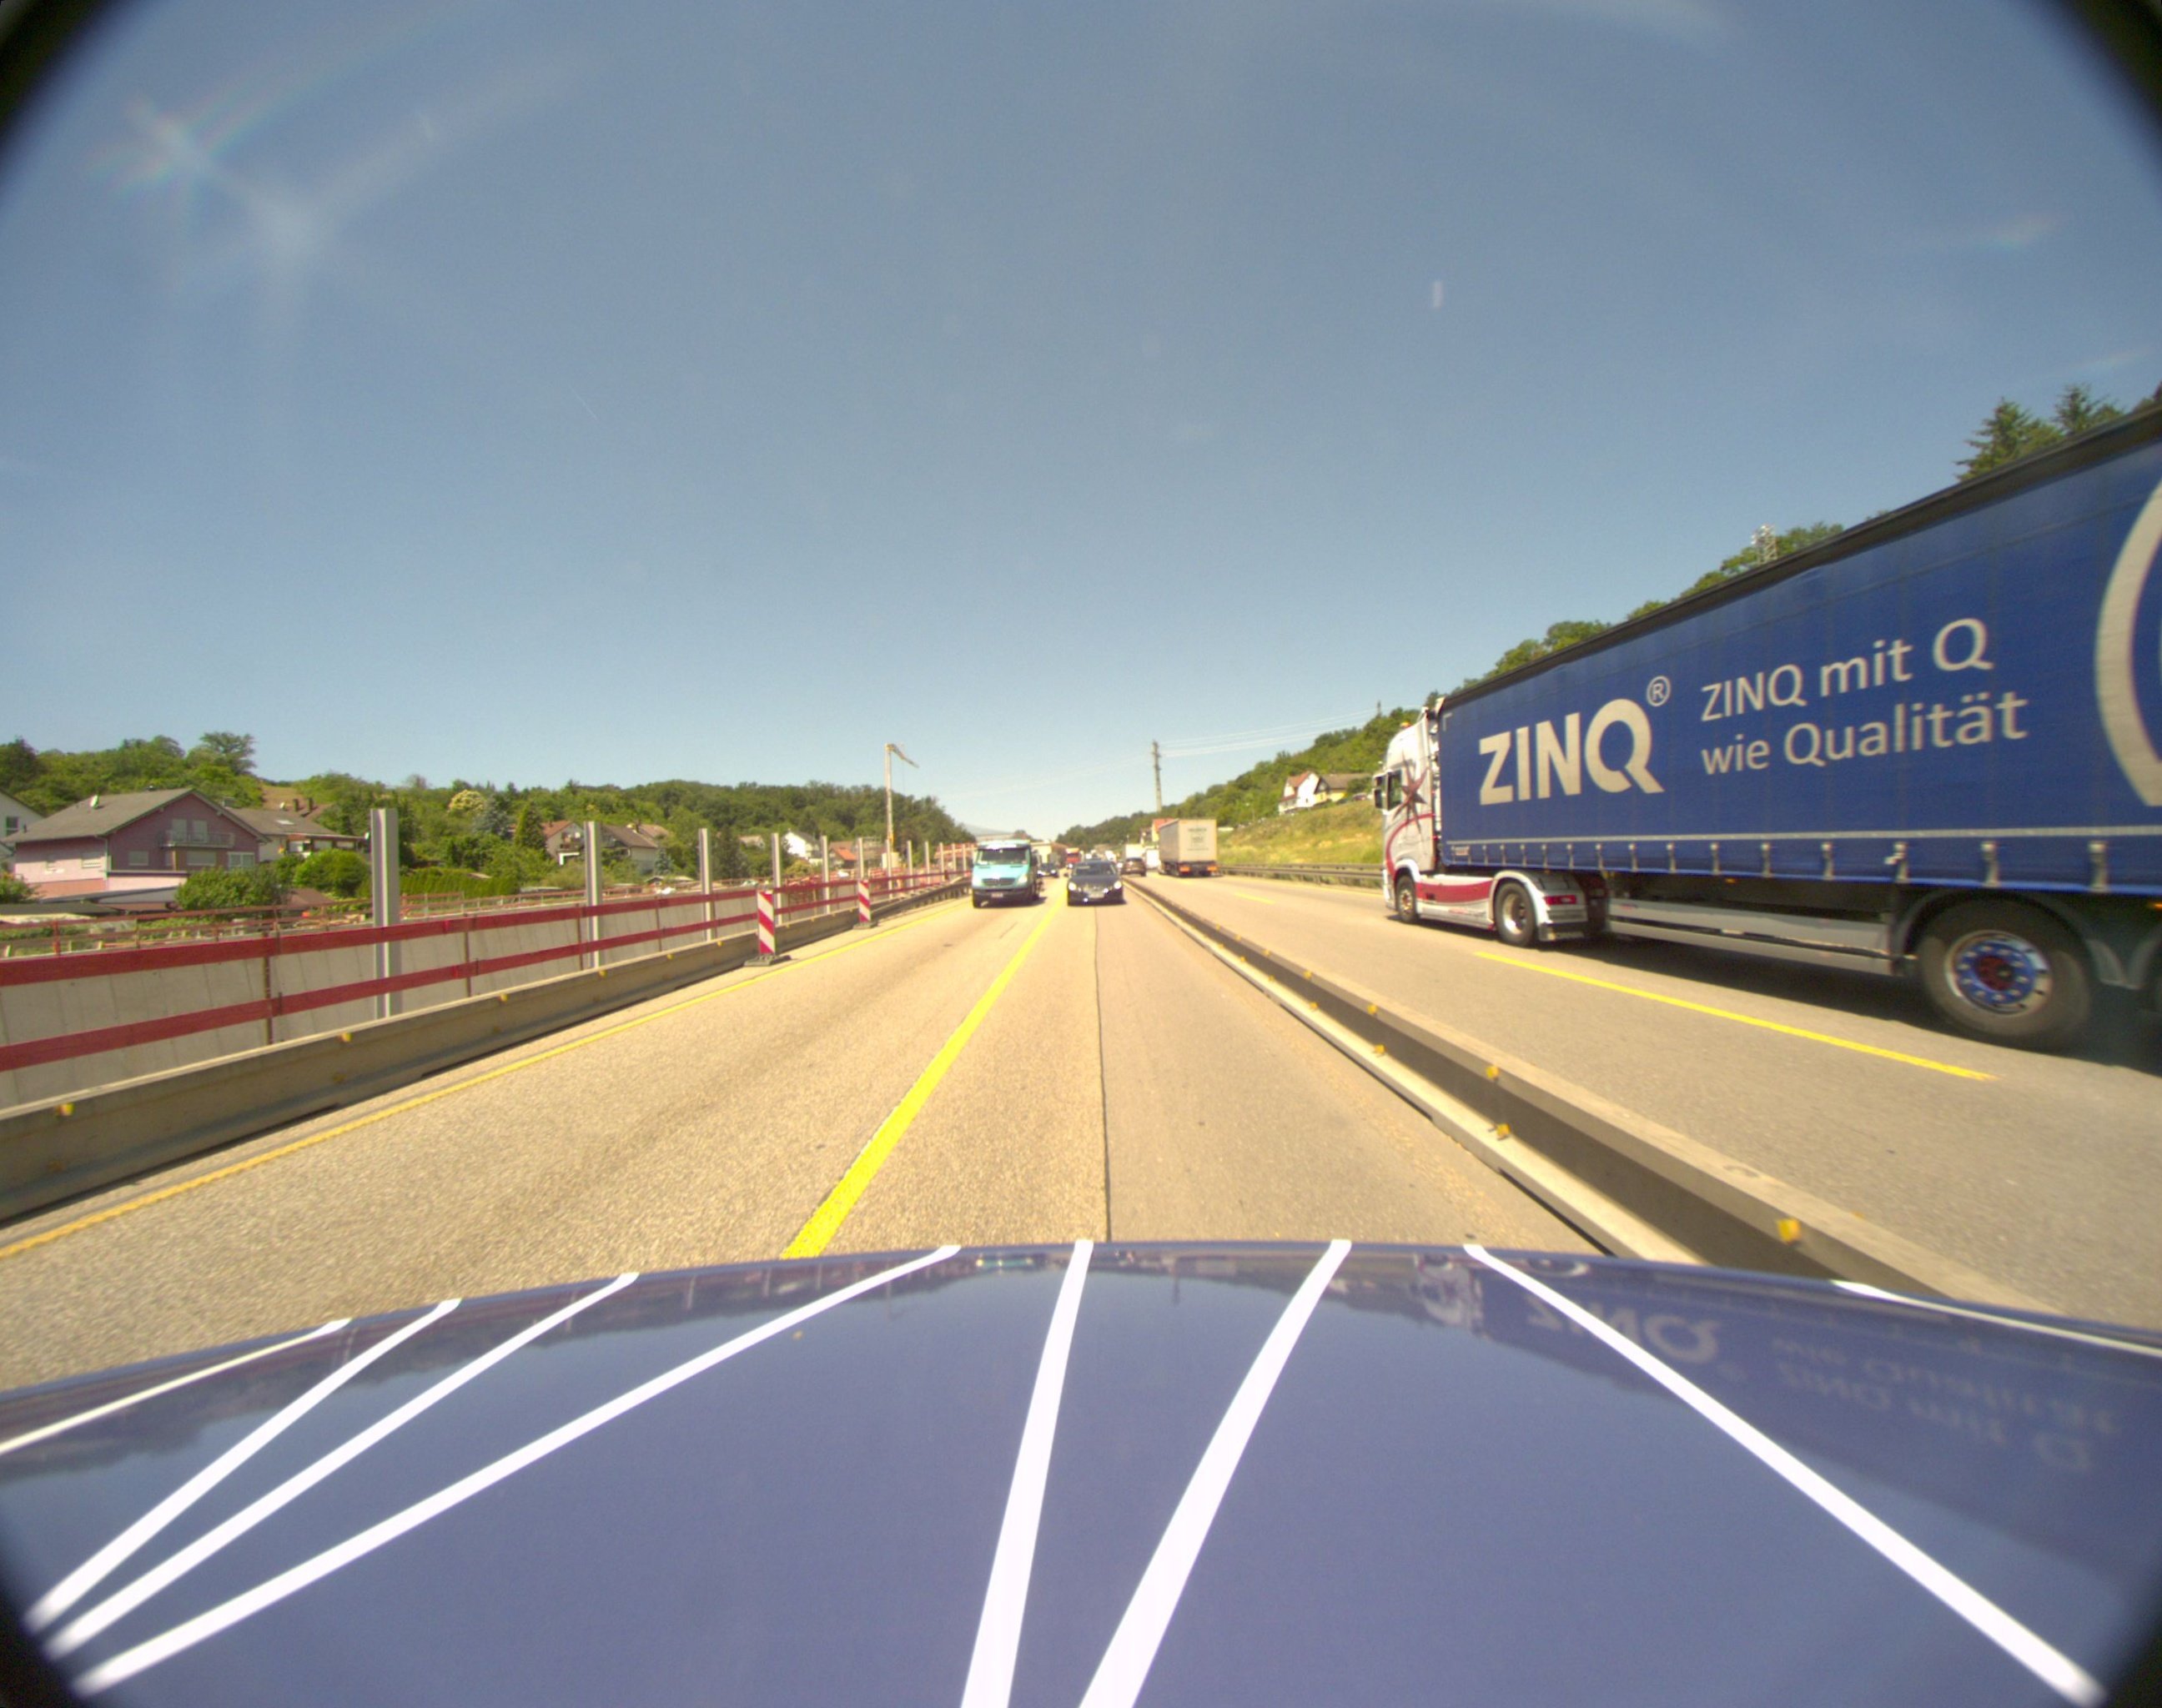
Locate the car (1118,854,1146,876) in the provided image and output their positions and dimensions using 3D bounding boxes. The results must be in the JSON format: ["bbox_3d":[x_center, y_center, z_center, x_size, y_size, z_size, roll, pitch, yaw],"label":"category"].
[{"bbox_3d":[4.061,0.861,61.065,1.853,1.577,4.174,-2,0,0],"label":"car"}]

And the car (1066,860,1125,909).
[{"bbox_3d":[0.463,0.927,24.983,1.746,1.420,4.000,-2,0,1],"label":"car"}]

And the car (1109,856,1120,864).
[{"bbox_3d":[6.095,1.142,139.502,1.772,1.355,4.411,-2,0,0],"label":"car"}]

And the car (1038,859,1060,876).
[{"bbox_3d":[-2.800,1.173,66.595,1.611,1.324,3.496,-3,0,1],"label":"car"}]

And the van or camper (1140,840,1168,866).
[{"bbox_3d":[8.202,-0.055,86.144,2.340,2.761,7.517,-2,0,0],"label":"van or camper"}]

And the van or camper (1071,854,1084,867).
[{"bbox_3d":[-0.736,1.275,155.313,2.321,2.513,4.528,-4,0,1],"label":"van or camper"}]

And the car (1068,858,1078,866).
[{"bbox_3d":[-1.431,1.461,137.721,1.679,1.346,3.487,-4,0,1],"label":"car"}]

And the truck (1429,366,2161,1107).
[{"bbox_3d":[7.683,-0.693,6.224,3.251,4.135,13.977,-2,0,0],"label":"truck"}]

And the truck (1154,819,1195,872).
[{"bbox_3d":[7.942,-0.731,65.254,2.781,4.261,4.676,-2,0,0],"label":"truck"}]

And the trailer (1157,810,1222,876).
[{"bbox_3d":[7.922,-0.725,57.446,2.817,4.261,14.034,-2,0,0],"label":"trailer"}]

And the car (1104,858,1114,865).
[{"bbox_3d":[5.893,1.583,159.875,1.758,1.499,4.000,-4,0,1],"label":"car"}]

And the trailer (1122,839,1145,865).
[{"bbox_3d":[8.790,-0.309,128.974,2.864,4.100,13.437,-2,0,0],"label":"trailer"}]

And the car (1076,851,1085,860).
[{"bbox_3d":[-0.085,0.321,161.620,1.744,1.679,3.640,-2,0,1],"label":"car"}]

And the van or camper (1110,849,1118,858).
[{"bbox_3d":[10.415,-0.155,239.733,2.382,2.634,6.052,-2,0,1],"label":"van or camper"}]

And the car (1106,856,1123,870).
[{"bbox_3d":[3.611,0.970,82.484,1.633,1.470,3.380,-2,0,0],"label":"car"}]

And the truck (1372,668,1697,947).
[{"bbox_3d":[7.715,-0.707,13.688,3.247,4.136,4.247,-2,0,0],"label":"truck"}]

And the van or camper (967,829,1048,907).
[{"bbox_3d":[-2.543,0.475,28.424,2.097,2.458,7.671,-2,0,1],"label":"van or camper"}]
